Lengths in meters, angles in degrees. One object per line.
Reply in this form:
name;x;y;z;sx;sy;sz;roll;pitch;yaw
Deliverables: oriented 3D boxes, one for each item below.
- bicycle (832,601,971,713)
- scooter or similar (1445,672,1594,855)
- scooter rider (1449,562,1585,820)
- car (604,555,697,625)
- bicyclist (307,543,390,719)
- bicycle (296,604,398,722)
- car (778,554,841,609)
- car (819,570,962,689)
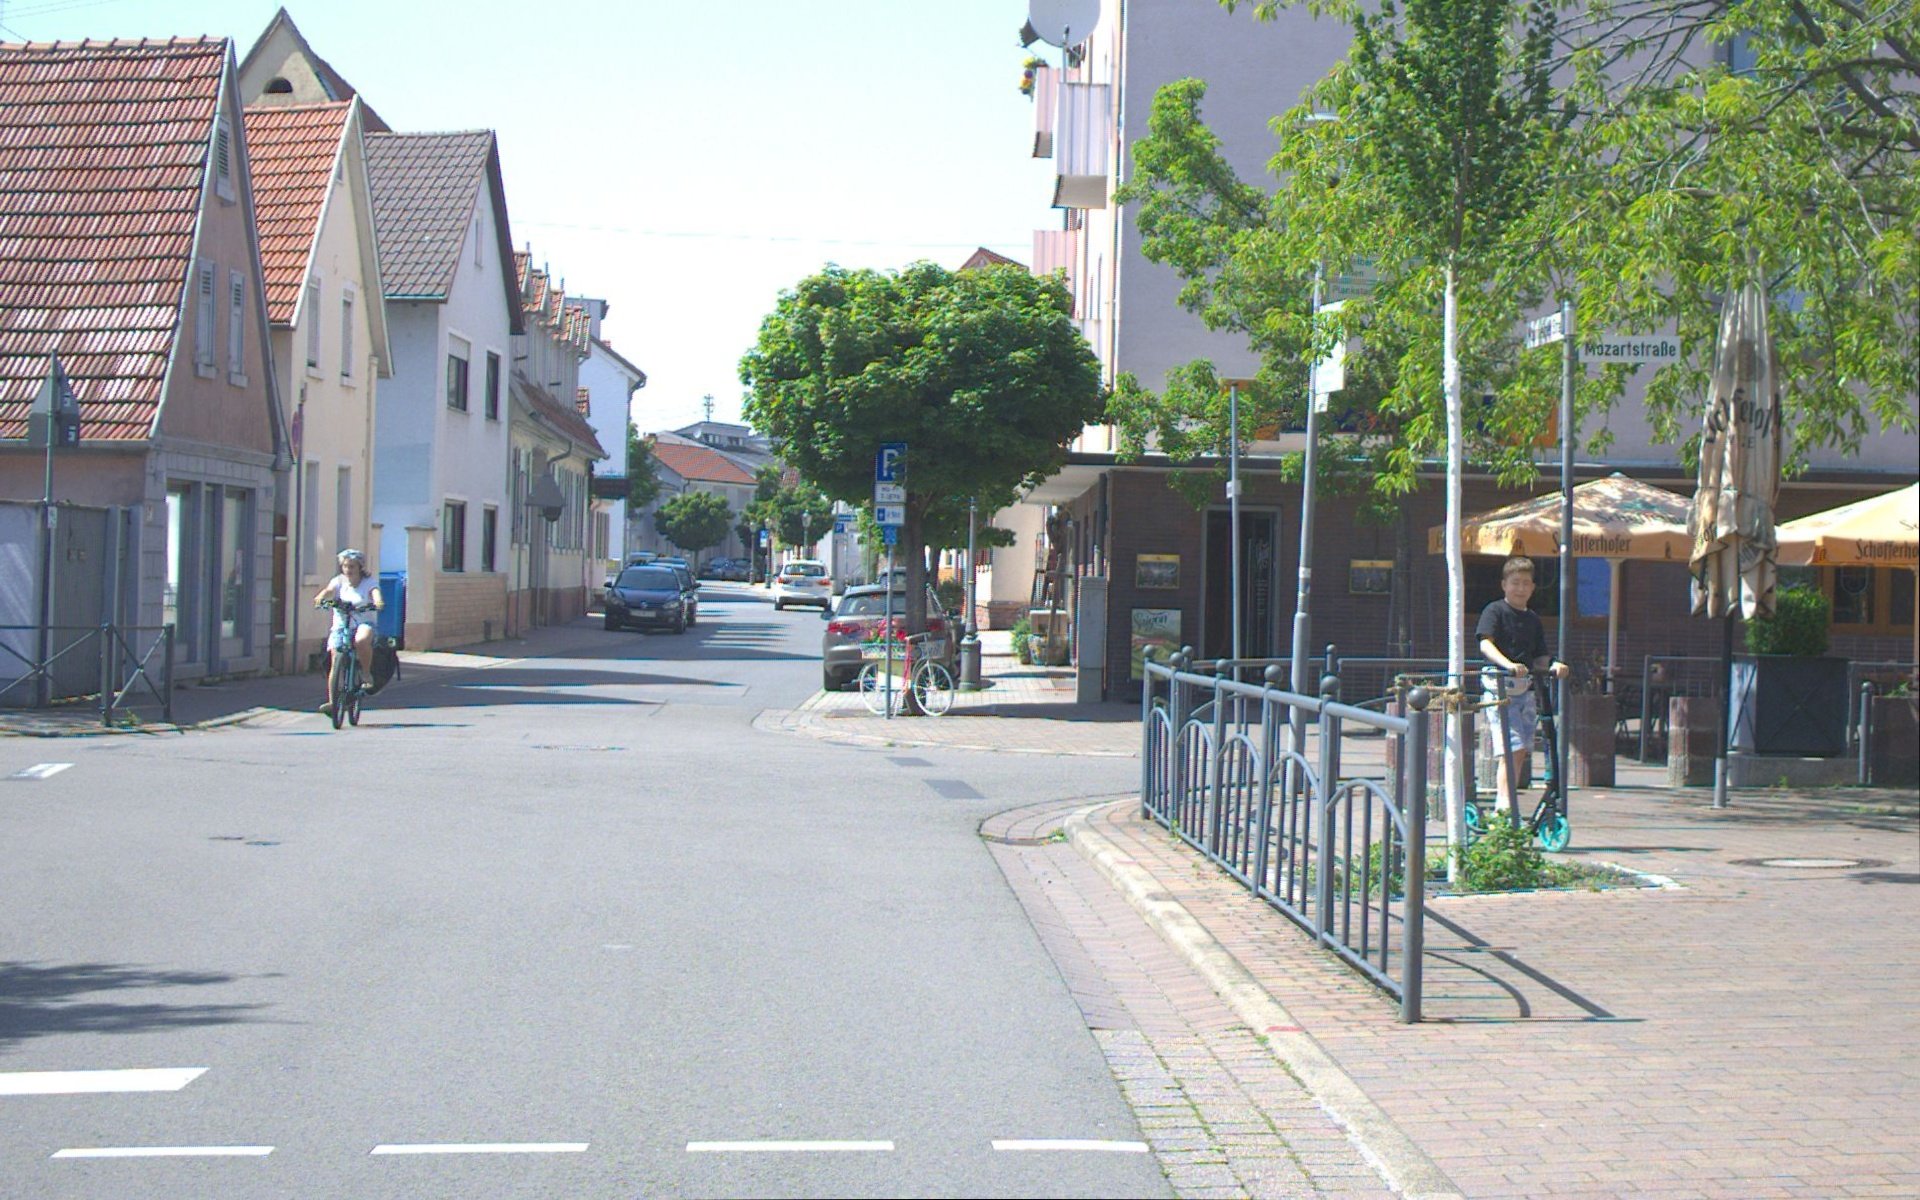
bicycle;-0.664;0.631;38.648;0.525;1.189;1.674;1;0;-44
scooter or similar;2.815;0.814;17.336;0.378;0.870;0.890;1;0;-16
scooter rider;2.812;0.457;17.376;0.516;1.281;0.418;1;0;-16
car;-7.019;-0.232;78.207;1.714;1.512;3.786;1;0;0
bicyclist;-5.941;0.292;33.432;0.669;1.685;0.761;0;0;-1
bicycle;-5.944;0.599;33.433;0.674;1.090;1.896;0;0;-1
car;-4.737;-0.586;108.691;1.834;1.646;4.000;1;0;0
car;-0.917;0.372;47.401;1.805;1.496;4.000;1;1;1
